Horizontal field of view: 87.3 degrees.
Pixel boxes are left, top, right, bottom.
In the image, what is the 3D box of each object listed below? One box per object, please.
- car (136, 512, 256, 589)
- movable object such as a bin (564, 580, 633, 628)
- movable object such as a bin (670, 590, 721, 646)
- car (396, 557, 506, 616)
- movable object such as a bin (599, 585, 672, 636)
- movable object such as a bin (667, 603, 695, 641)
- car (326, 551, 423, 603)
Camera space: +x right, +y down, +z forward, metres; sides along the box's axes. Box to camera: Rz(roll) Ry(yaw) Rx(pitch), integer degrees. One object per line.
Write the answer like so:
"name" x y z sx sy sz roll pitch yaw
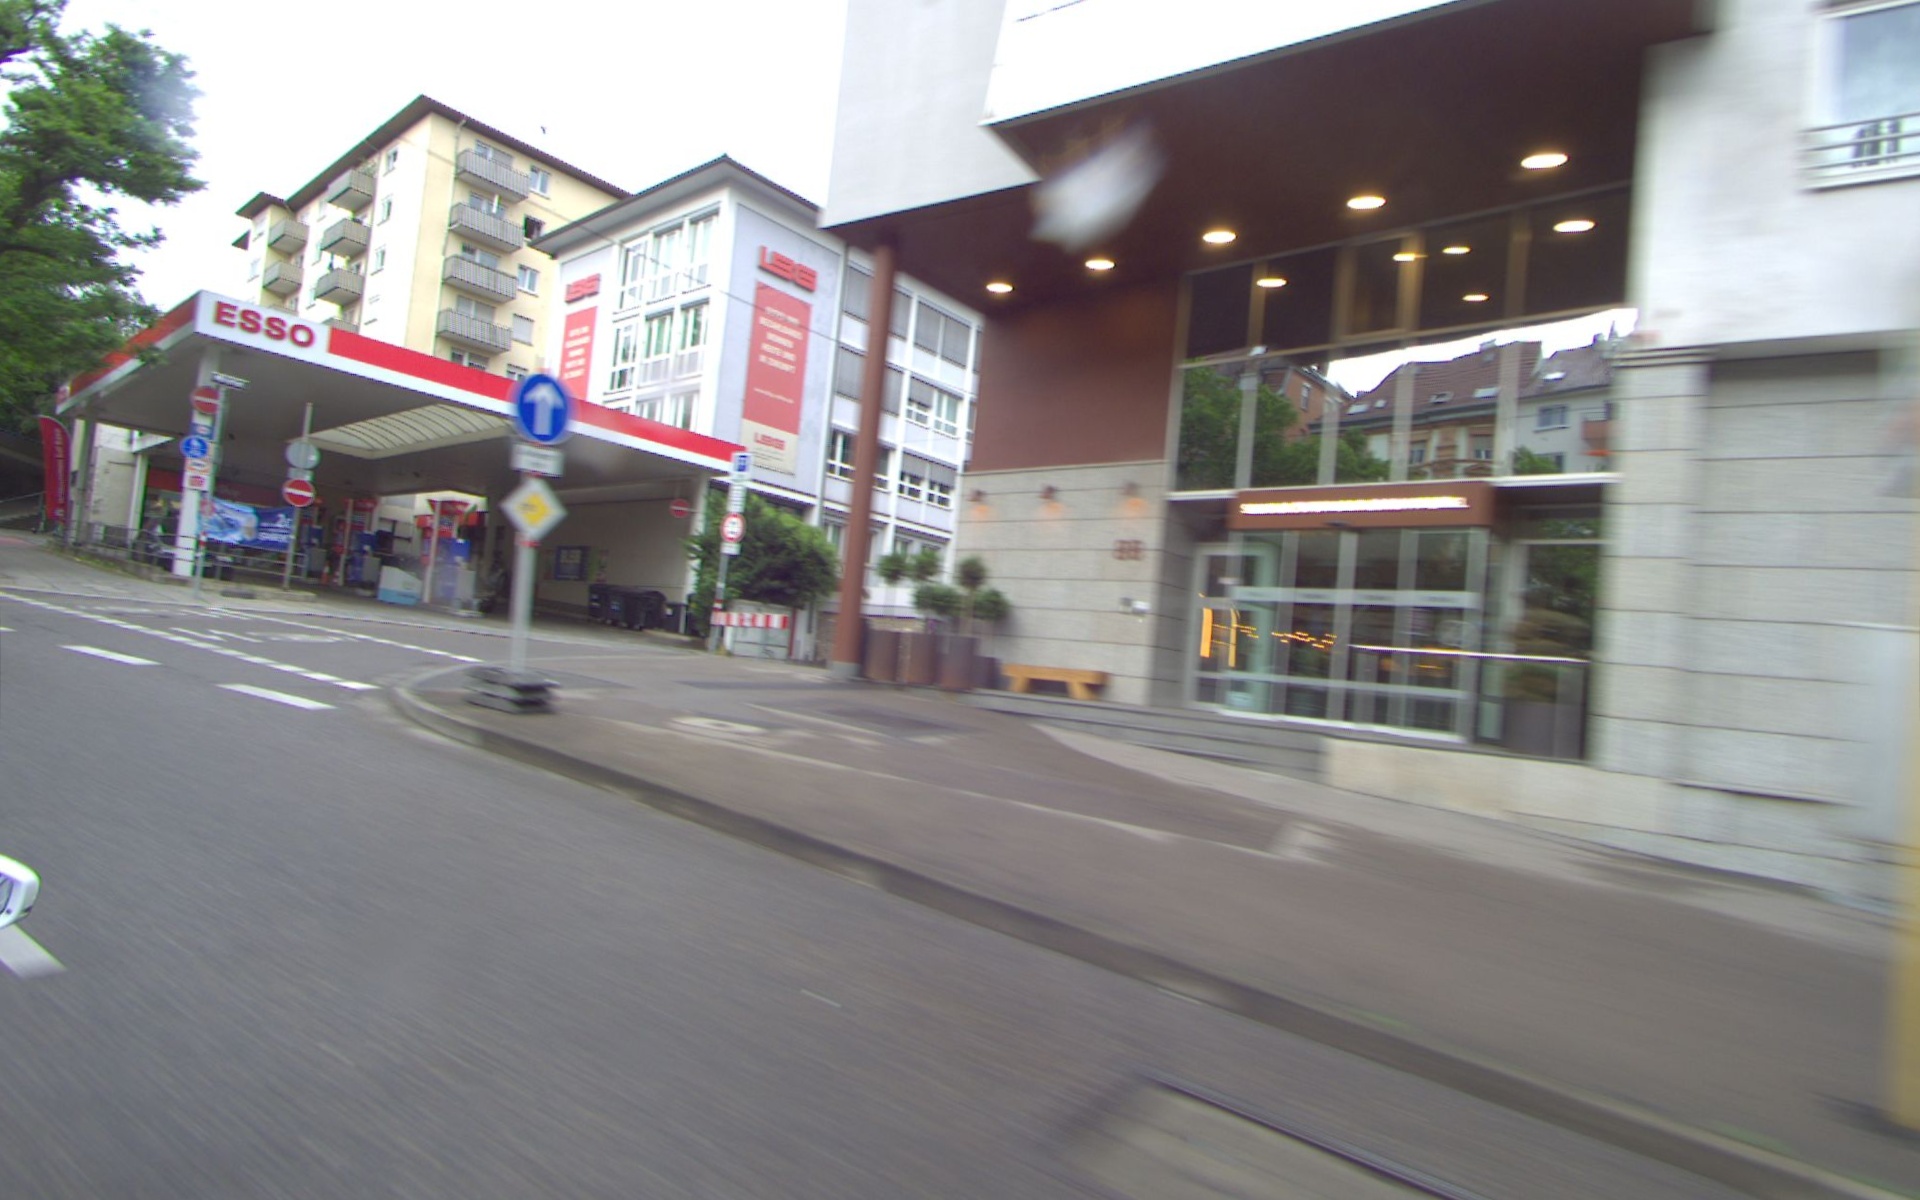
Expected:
"car" -19.390 -1.276 25.475 3.816 1.643 1.768 5 -1 44
"movable object such as a bin" -13.179 0.139 36.615 2.473 1.442 1.162 6 -2 41
"movable object such as a bin" -8.371 0.555 31.865 1.341 1.584 0.763 6 -2 41
"car" -17.099 -0.465 33.741 3.946 1.526 1.795 4 -6 42
"movable object such as a bin" -11.268 0.365 34.883 2.473 1.442 1.162 6 -2 41
"movable object such as a bin" -9.051 0.714 32.642 0.651 1.154 0.452 6 -2 41
"car" -22.245 -0.896 38.169 4.174 1.526 1.795 4 -6 42
